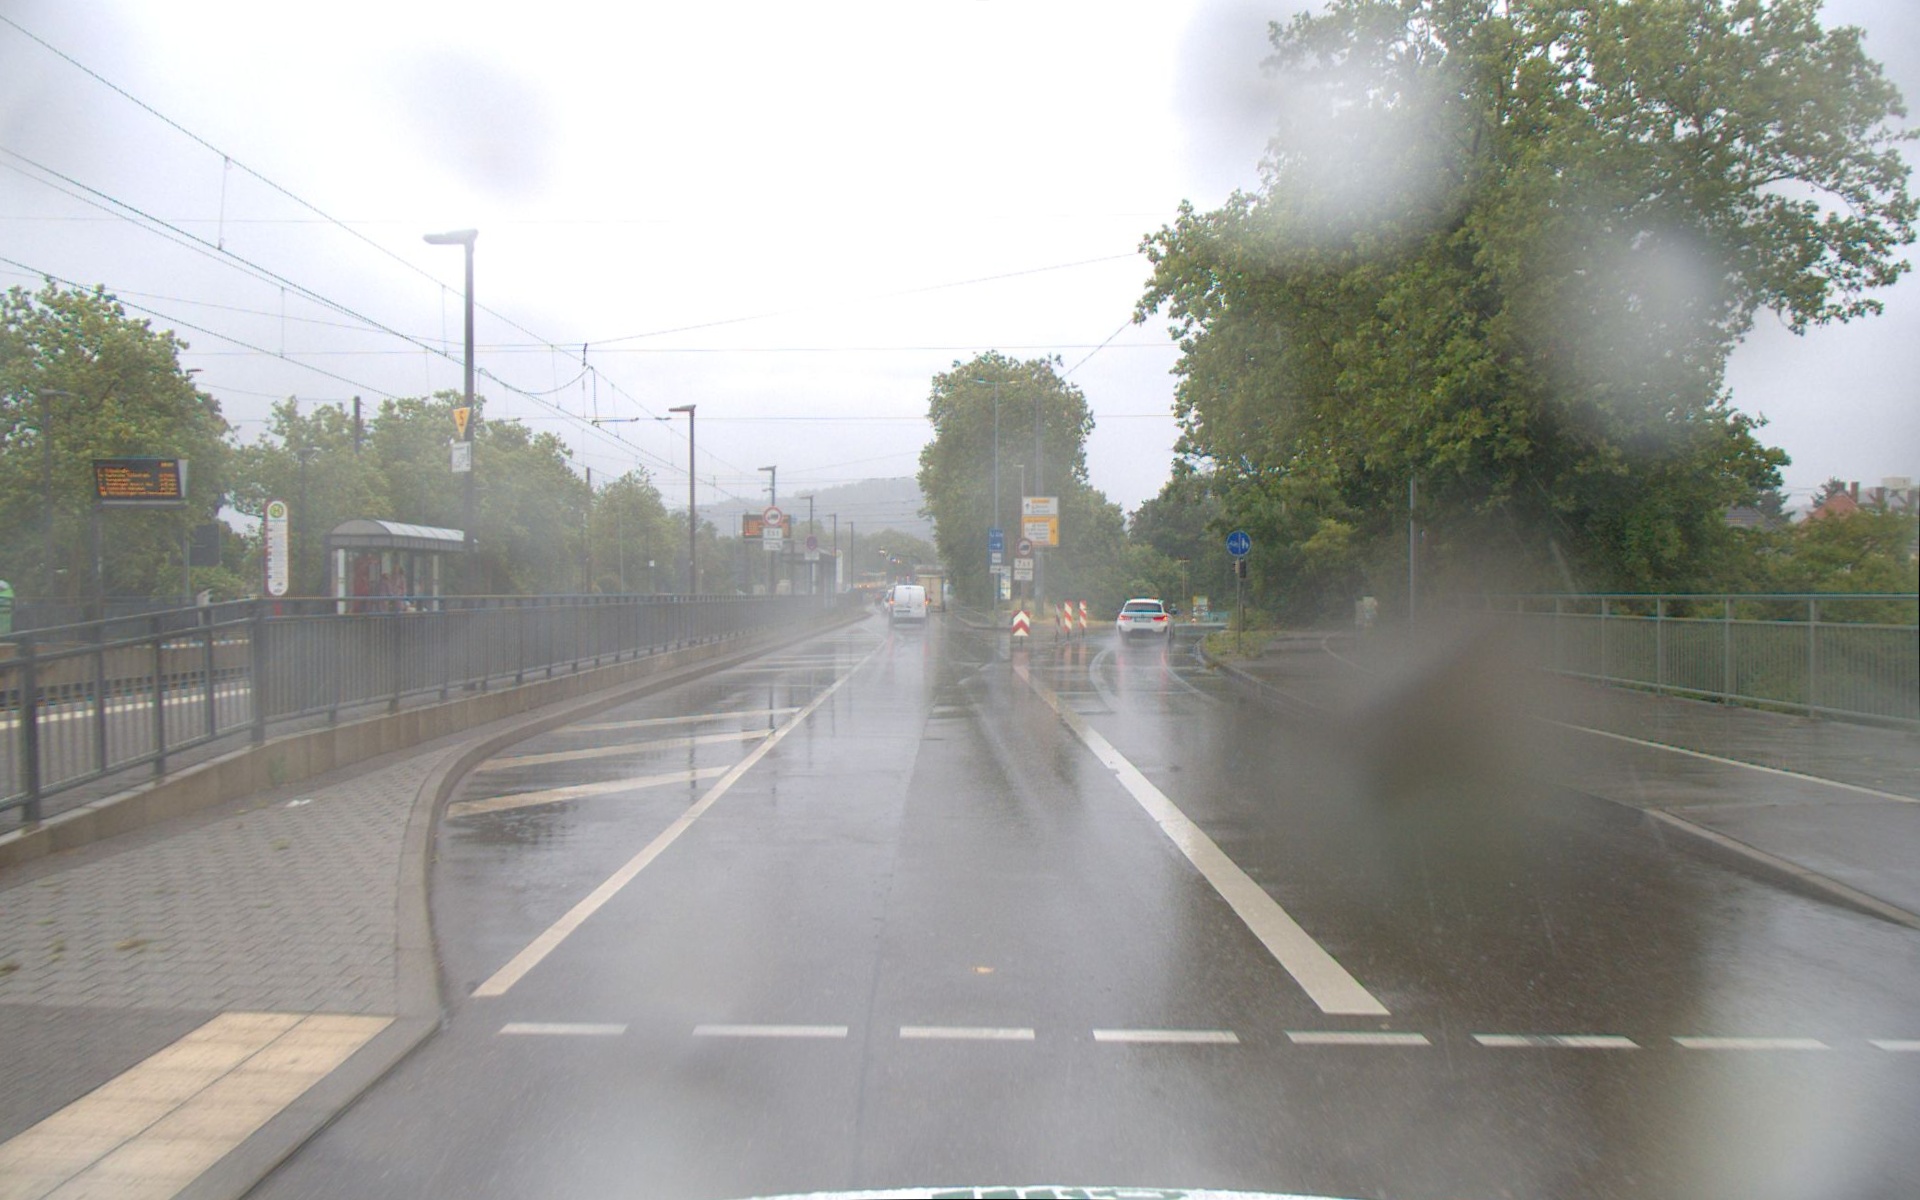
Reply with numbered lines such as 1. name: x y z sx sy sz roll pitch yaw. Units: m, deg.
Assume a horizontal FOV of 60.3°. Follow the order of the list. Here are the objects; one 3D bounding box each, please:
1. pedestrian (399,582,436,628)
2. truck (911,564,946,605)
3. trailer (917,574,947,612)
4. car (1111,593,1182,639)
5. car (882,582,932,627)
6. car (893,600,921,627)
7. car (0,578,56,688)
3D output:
1. pedestrian: -16.268 0.147 49.634 0.814 1.339 0.858 1 0 -1
2. truck: -3.033 -1.384 157.383 2.721 3.769 9.842 1 0 -5
3. trailer: -2.126 -0.479 126.210 2.121 2.806 5.677 1 0 1
4. car: 6.230 0.506 54.932 1.848 1.456 4.003 0 0 14
5. car: -2.334 0.184 71.933 1.954 1.881 3.996 0 0 -5
6. car: -3.415 0.870 107.367 1.750 1.671 3.966 1 0 -2
7. car: -18.801 0.606 30.274 1.953 2.049 4.752 1 0 -1
